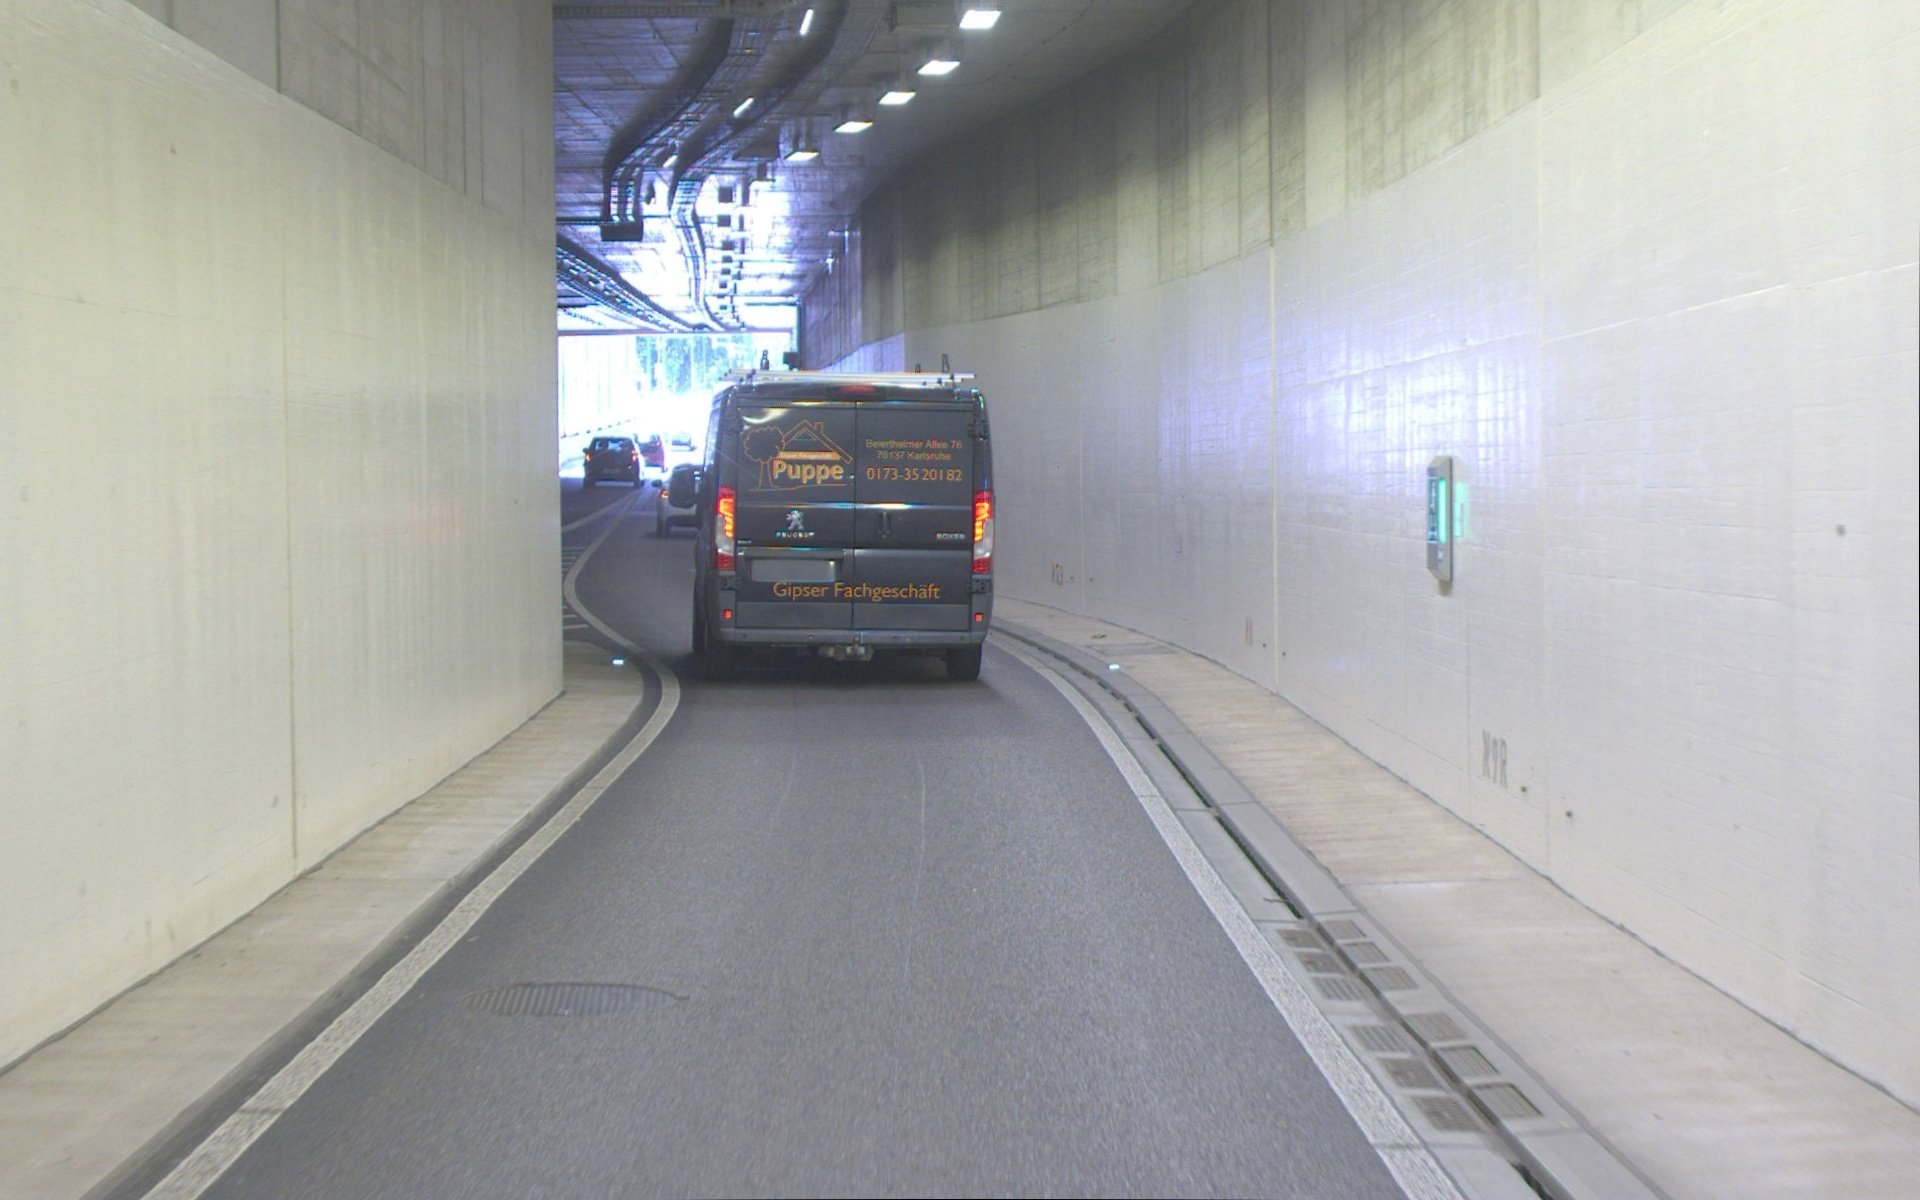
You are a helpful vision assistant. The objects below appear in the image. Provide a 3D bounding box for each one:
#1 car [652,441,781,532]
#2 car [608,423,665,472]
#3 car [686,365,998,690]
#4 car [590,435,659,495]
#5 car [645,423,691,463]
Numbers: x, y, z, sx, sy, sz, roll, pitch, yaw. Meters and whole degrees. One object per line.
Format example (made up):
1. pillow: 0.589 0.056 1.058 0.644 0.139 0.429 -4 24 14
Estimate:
1. car: -4.185 -2.000 59.628 2.085 1.508 4.638 0 3 -2
2. car: -11.123 -5.238 118.411 1.876 1.619 4.221 1 2 -5
3. car: -1.012 -0.627 26.461 2.158 2.258 4.638 1 3 -5
4. car: -9.557 -3.838 98.104 1.876 1.619 4.221 1 2 -5
5. car: -12.446 -6.679 146.434 1.876 1.619 4.221 1 2 -5
